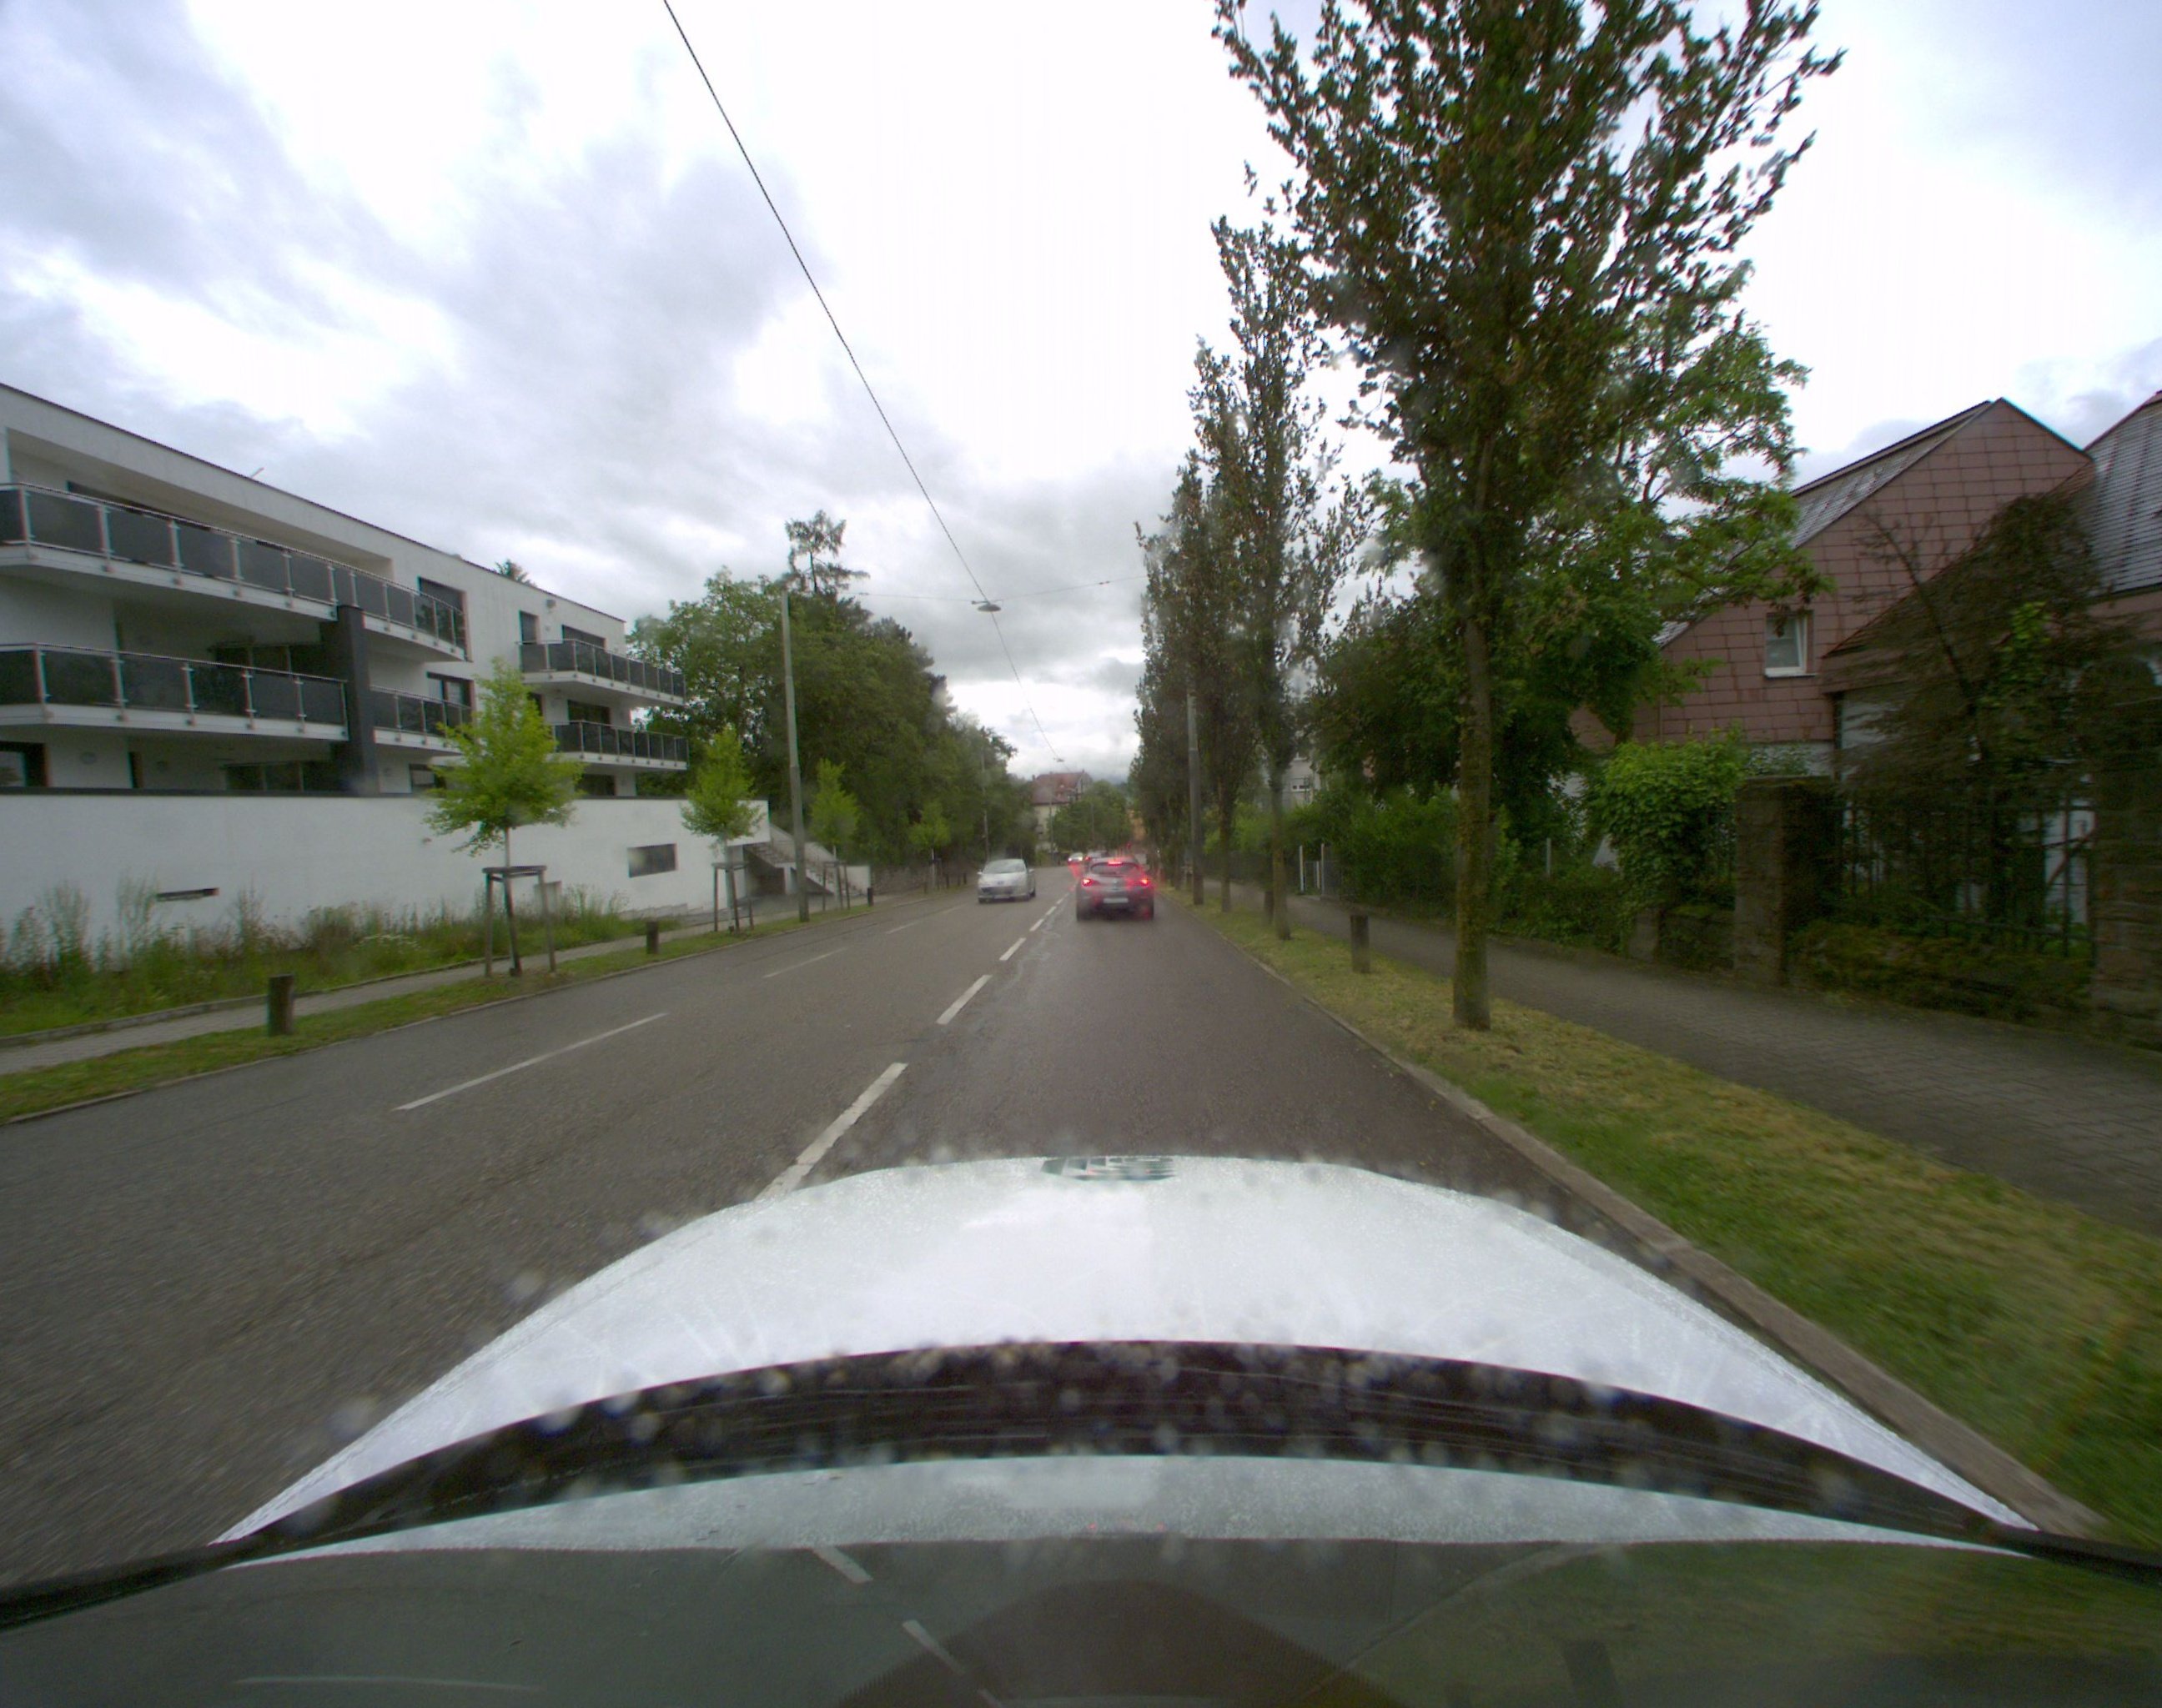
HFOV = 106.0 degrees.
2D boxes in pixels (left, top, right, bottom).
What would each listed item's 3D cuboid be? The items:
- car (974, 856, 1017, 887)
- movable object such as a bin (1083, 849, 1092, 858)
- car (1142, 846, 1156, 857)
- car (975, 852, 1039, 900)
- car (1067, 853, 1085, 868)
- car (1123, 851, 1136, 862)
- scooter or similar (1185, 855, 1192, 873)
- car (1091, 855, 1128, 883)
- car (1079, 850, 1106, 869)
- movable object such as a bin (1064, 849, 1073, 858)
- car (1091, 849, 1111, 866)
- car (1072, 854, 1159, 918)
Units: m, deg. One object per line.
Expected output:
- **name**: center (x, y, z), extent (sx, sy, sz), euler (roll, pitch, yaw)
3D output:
- **car**: center (-4.938, 0.994, 47.408), extent (1.738, 1.549, 3.922), euler (-5, -1, 4)
- **movable object such as a bin**: center (0.943, -0.066, 121.812), extent (1.265, 1.387, 0.490), euler (-1, 1, 6)
- **car**: center (13.831, -0.550, 165.187), extent (2.320, 2.036, 4.748), euler (1, 1, 9)
- **car**: center (-2.526, 0.737, 28.562), extent (1.756, 1.486, 4.000), euler (-3, 0, 0)
- **car**: center (-0.520, 0.748, 94.723), extent (1.757, 1.486, 3.805), euler (-4, 1, 4)
- **car**: center (7.467, 0.441, 125.016), extent (1.745, 1.651, 4.008), euler (1, 0, 7)
- **scooter or similar**: center (7.466, 0.703, 56.521), extent (0.341, 1.254, 1.267), euler (1, -1, 0)
- **car**: center (1.521, 0.765, 42.592), extent (1.790, 1.323, 4.004), euler (-1, 0, 4)
- **car**: center (1.036, 0.470, 72.090), extent (1.950, 1.472, 3.959), euler (1, 1, 7)
- **movable object such as a bin**: center (-1.995, -0.089, 127.861), extent (1.265, 1.387, 0.490), euler (-1, 1, 6)
- **car**: center (2.246, 0.332, 89.104), extent (1.759, 1.781, 3.985), euler (1, 1, 7)
- **car**: center (0.844, 0.726, 20.343), extent (1.938, 1.432, 3.886), euler (0, 0, 2)
